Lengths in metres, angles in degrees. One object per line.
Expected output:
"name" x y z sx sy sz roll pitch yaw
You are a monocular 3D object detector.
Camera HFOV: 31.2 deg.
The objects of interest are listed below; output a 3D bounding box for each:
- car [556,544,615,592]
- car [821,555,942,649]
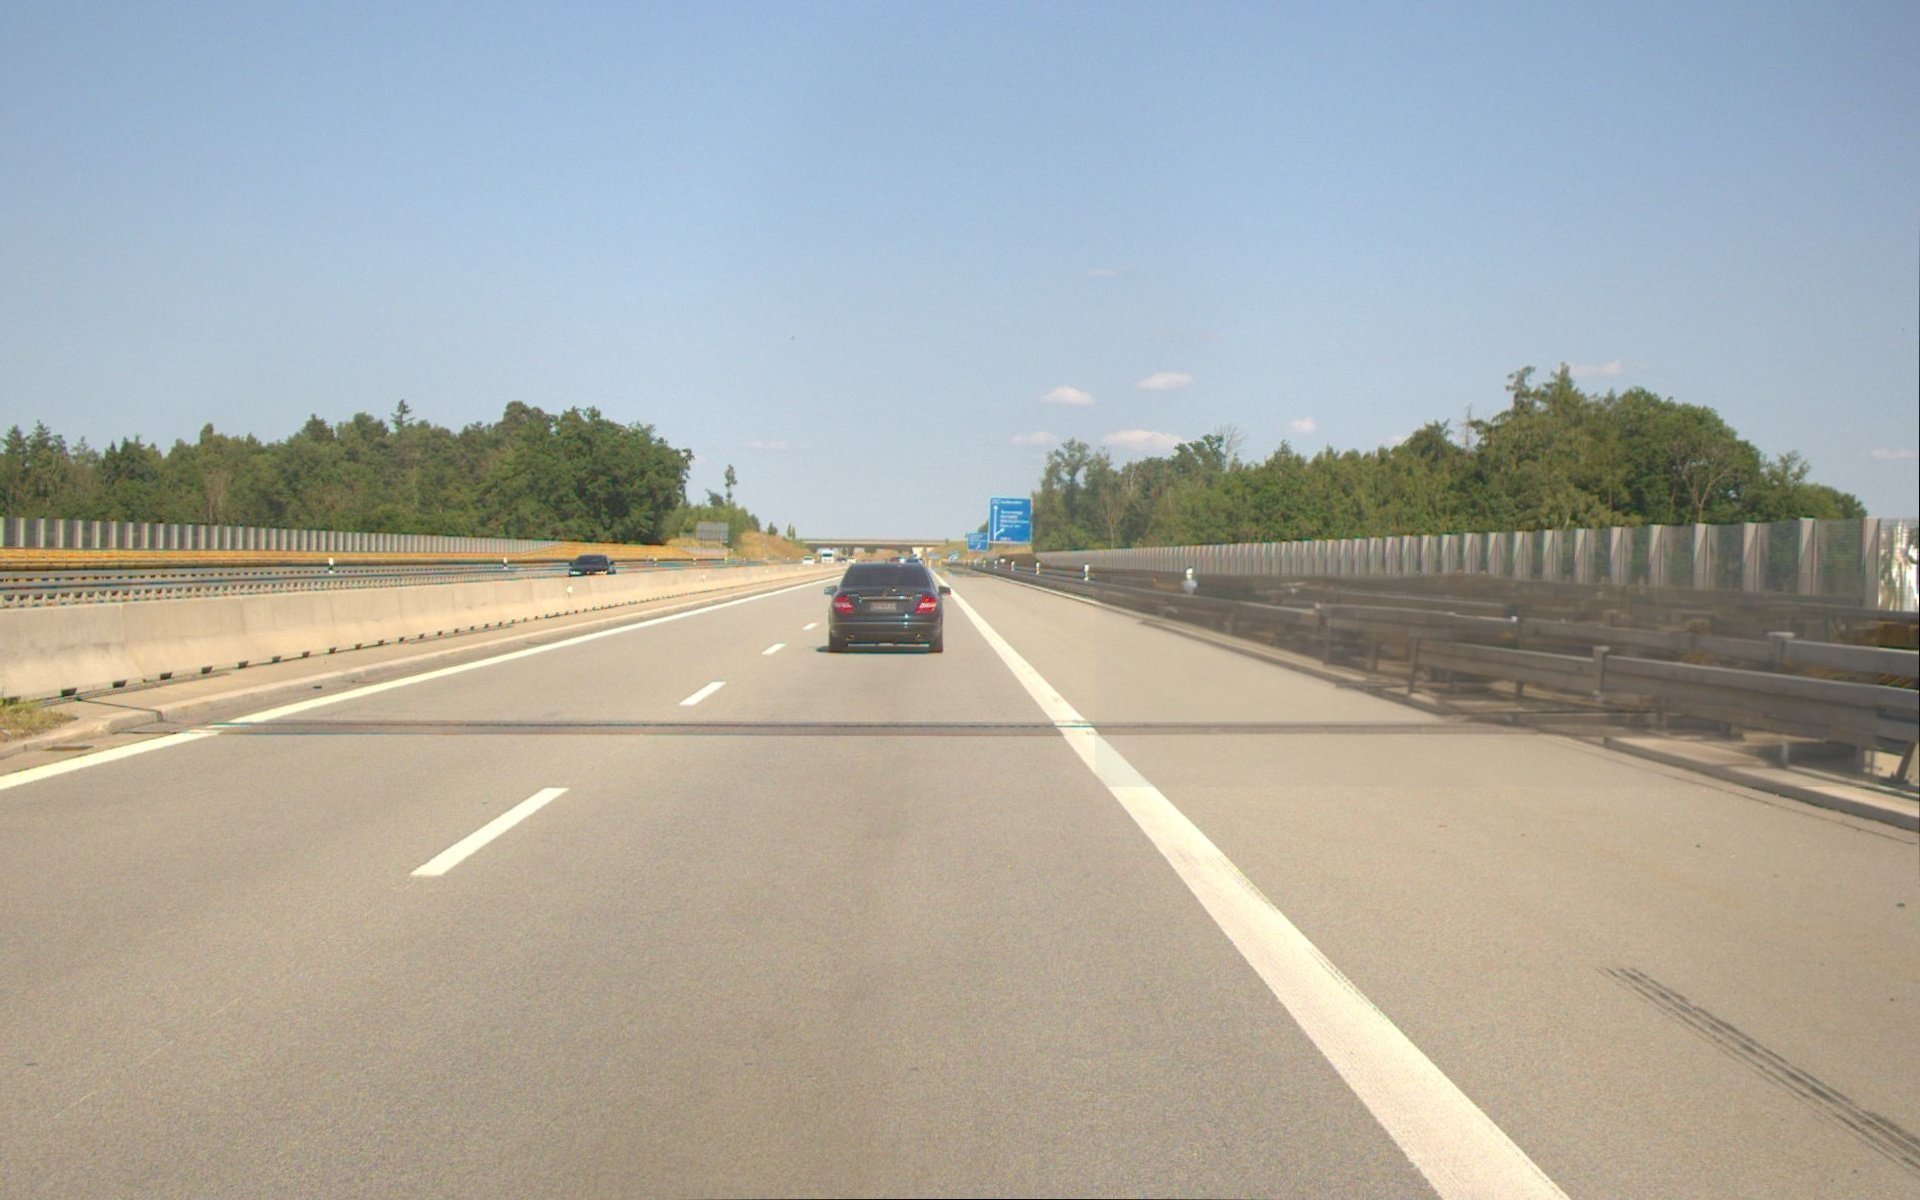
"car" -16.285 -1.387 149.825 1.993 2.007 4.761 1 1 1
"car" -1.181 0.003 53.513 1.790 1.369 3.917 1 1 0
